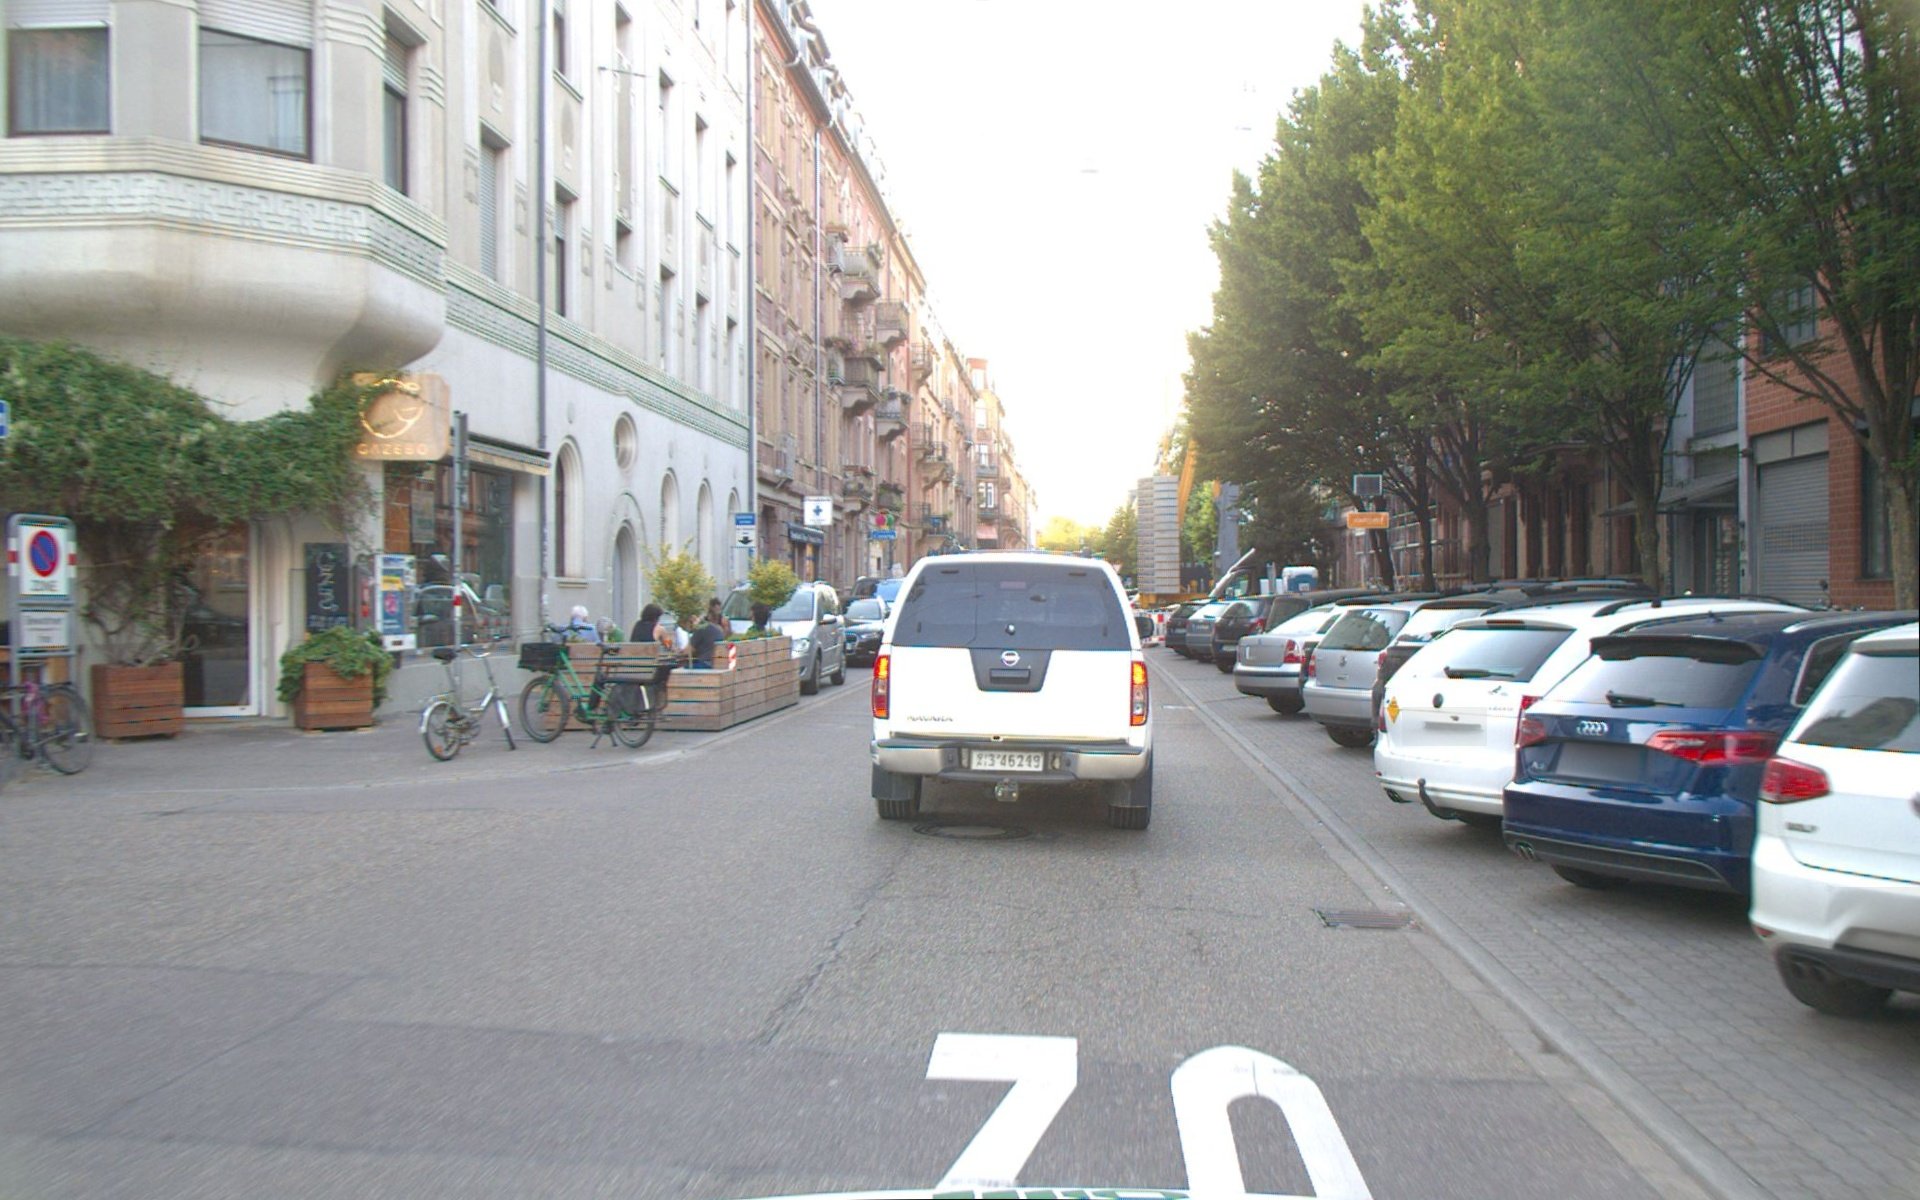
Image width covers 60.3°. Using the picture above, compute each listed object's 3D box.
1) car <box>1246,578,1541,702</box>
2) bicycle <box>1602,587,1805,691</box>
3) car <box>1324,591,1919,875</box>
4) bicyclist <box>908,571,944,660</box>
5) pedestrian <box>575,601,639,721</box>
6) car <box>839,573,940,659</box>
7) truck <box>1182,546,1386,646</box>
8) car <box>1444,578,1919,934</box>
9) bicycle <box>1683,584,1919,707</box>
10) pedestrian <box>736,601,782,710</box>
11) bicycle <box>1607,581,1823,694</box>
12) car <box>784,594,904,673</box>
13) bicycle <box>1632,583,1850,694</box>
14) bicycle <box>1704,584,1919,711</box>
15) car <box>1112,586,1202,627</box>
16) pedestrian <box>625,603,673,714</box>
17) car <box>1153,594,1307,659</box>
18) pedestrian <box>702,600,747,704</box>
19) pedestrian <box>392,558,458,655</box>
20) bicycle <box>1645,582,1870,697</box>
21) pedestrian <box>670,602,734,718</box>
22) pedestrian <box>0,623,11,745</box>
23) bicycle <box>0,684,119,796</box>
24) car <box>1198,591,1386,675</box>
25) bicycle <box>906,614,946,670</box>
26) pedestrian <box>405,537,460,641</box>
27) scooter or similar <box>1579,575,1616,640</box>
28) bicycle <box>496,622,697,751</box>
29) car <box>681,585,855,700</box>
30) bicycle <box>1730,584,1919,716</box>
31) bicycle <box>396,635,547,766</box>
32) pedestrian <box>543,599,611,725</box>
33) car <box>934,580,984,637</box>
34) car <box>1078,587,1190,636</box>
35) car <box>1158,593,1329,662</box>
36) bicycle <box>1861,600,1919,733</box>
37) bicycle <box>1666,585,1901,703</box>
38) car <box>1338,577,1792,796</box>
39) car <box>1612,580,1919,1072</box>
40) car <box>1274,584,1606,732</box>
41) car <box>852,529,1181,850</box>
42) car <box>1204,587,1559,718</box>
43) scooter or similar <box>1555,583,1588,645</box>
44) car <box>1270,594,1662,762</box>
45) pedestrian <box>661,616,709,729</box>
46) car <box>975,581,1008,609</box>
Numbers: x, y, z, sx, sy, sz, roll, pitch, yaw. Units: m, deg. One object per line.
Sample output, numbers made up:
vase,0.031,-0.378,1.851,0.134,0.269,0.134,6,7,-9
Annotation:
car,6.448,0.561,24.702,3.922,1.665,1.751,-1,0,-16
bicycle,10.250,0.539,22.853,2.480,1.403,0.600,0,0,6
car,4.477,0.740,10.947,3.939,1.564,1.622,-1,1,-27
bicyclist,-0.656,0.298,32.482,0.590,1.714,1.143,0,0,4
pedestrian,-4.047,0.693,19.009,0.526,1.348,0.705,0,0,5
car,-1.658,0.365,40.573,1.864,1.959,4.950,1,0,5
truck,10.223,-0.108,52.668,6.186,3.029,2.265,1,-3,5
car,4.707,0.687,8.909,3.939,1.549,1.695,-1,-1,-27
bicycle,9.836,0.526,19.310,2.480,1.403,0.600,0,0,6
pedestrian,-2.572,0.701,21.224,0.474,1.374,0.669,0,0,3
bicycle,10.139,0.501,22.276,2.481,1.266,0.600,-6,-1,6
car,-2.353,0.651,34.558,1.871,1.497,4.536,1,0,4
bicycle,10.108,0.499,21.467,2.480,1.403,0.600,0,0,6
bicycle,9.806,0.531,18.694,2.480,1.403,0.600,0,0,6
car,9.161,0.285,76.837,4.106,1.811,1.821,1,0,7
pedestrian,-3.902,0.722,20.777,0.458,1.374,0.611,0,0,3
car,6.848,0.645,41.859,3.849,1.557,1.617,0,0,-36
pedestrian,-3.140,0.684,22.076,0.506,1.374,0.540,0,0,1
pedestrian,-6.664,0.079,20.628,0.545,1.174,0.748,0,0,3
bicycle,9.983,0.493,20.770,2.480,1.403,0.600,0,0,6
pedestrian,-3.081,0.704,19.809,0.596,1.348,0.771,0,0,3
pedestrian,-10.100,0.861,16.599,0.676,1.235,0.779,0,0,5
bicycle,-7.465,1.107,13.333,0.414,0.707,1.780,0,2,2
car,6.664,0.614,33.223,3.356,1.500,1.759,-2,1,-27
bicycle,-0.657,0.808,32.443,0.601,1.058,1.905,0,0,4
pedestrian,-7.034,-0.142,22.076,0.527,1.374,0.519,0,0,5
scooter or similar,12.692,0.138,32.967,0.403,1.239,1.777,-6,-1,15
bicycle,-3.487,0.798,15.795,2.070,1.114,0.500,1,1,29
car,-2.876,0.601,25.713,1.952,1.619,4.316,0,0,4
bicycle,9.781,0.532,17.979,2.480,1.403,0.600,0,0,6
bicycle,-4.385,0.876,14.967,0.414,1.030,1.719,0,1,17
pedestrian,-4.198,0.667,18.139,0.526,1.348,0.705,0,0,5
car,-0.009,0.305,60.013,1.526,1.955,3.858,2,0,4
car,6.688,0.416,63.395,4.105,1.811,1.821,1,0,10
car,6.718,0.615,39.133,3.786,1.462,1.744,-2,1,-31
bicycle,9.592,0.588,14.979,2.480,1.187,0.562,0,0,6
bicycle,9.955,0.526,20.059,2.480,1.403,0.600,0,0,6
car,5.101,0.631,13.898,3.554,1.608,1.700,-1,0,-29
car,4.548,0.675,6.174,3.943,1.499,1.857,-1,-1,-29
car,5.559,0.612,19.134,3.547,1.561,1.551,-1,0,-24
car,0.508,0.516,12.112,1.893,1.826,4.624,2,0,4
car,5.554,0.637,21.836,4.308,1.561,1.796,-1,0,-20
scooter or similar,12.681,0.274,34.298,0.362,1.239,1.701,-3,-1,28
car,5.092,0.712,16.662,3.546,1.508,1.710,-1,0,-24
pedestrian,-3.422,0.894,20.630,0.458,1.374,0.611,0,0,3
car,1.839,-0.273,95.960,1.674,1.557,4.002,1,0,4
